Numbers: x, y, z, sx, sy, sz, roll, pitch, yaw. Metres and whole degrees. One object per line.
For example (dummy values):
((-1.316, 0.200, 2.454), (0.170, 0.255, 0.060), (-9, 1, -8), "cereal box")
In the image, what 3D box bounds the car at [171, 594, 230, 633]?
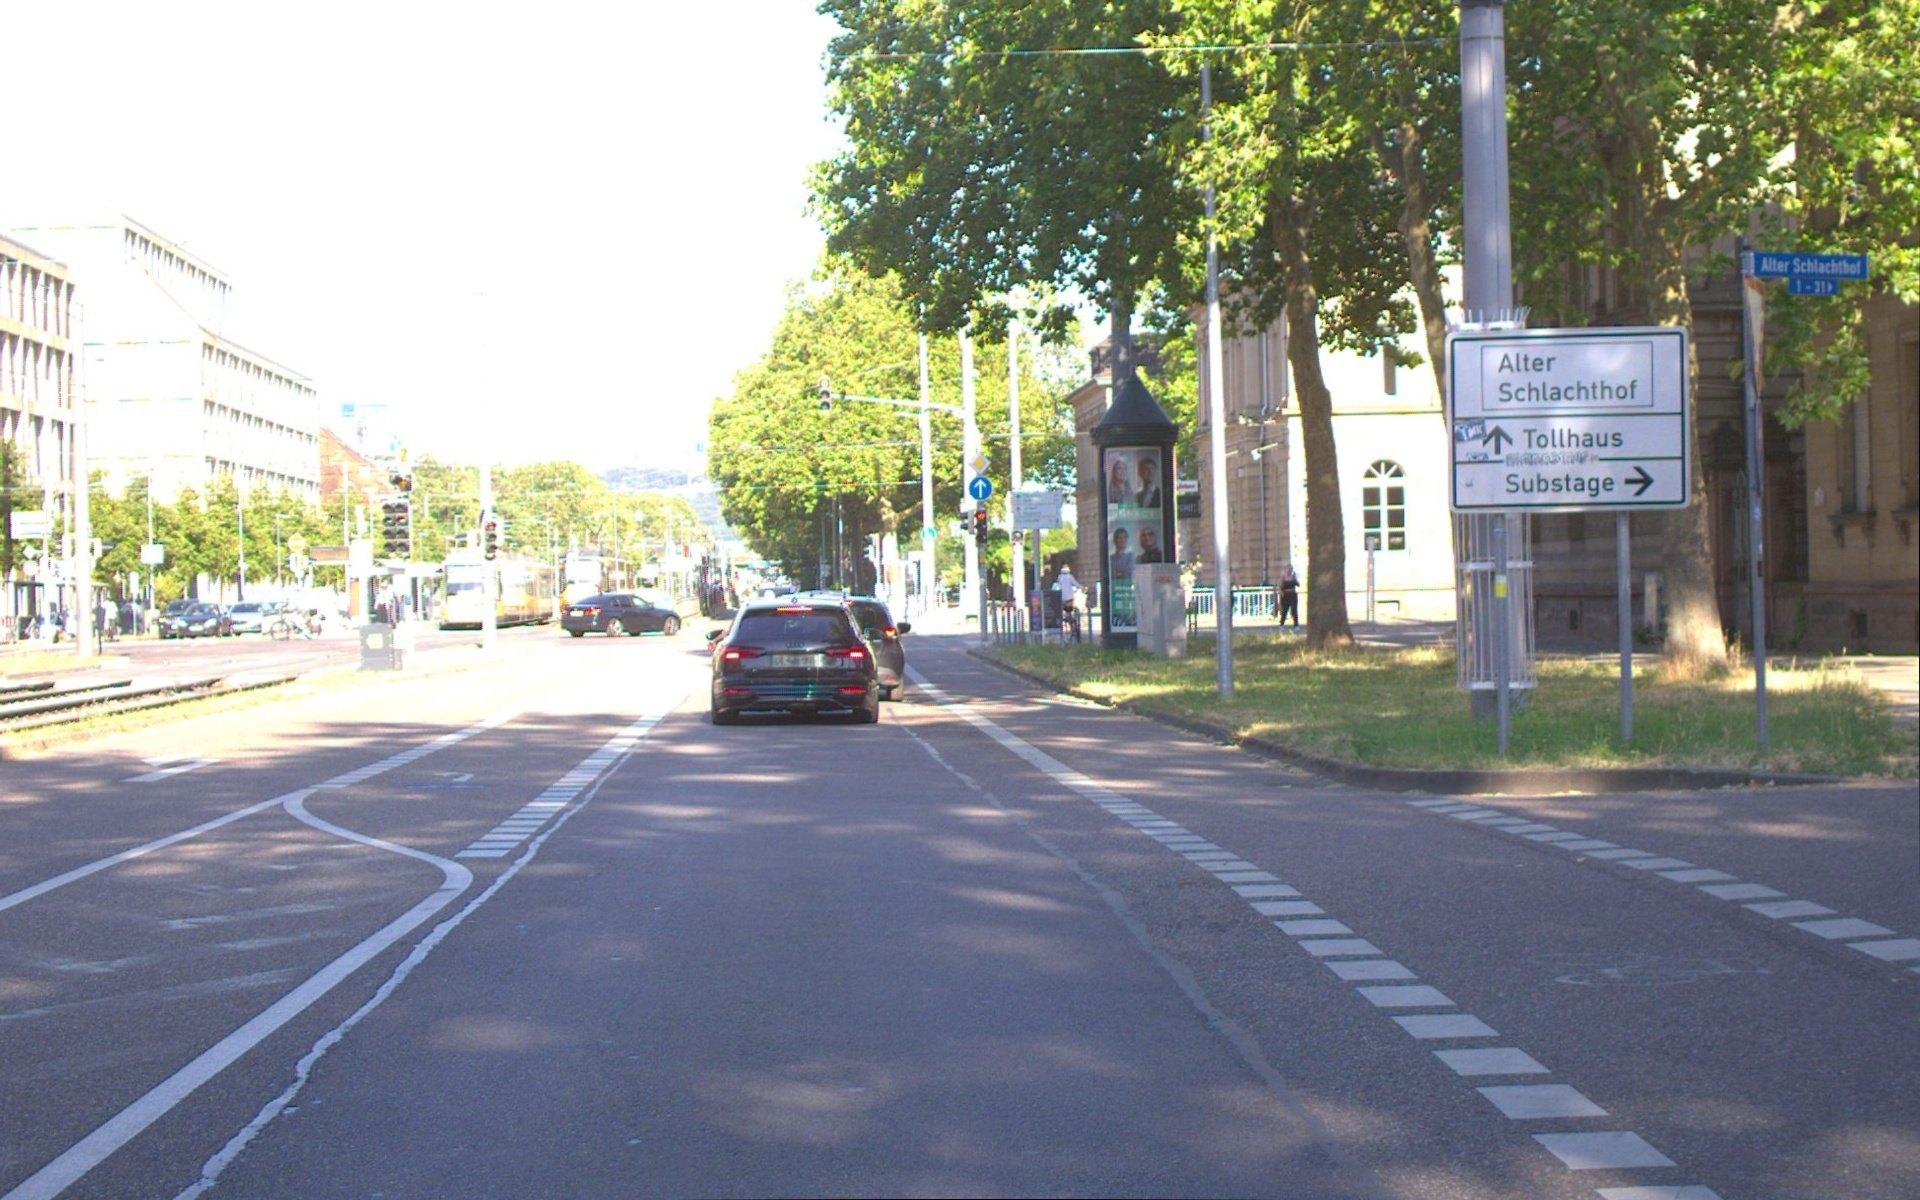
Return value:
((-30.746, 0.520, 139.251), (1.794, 1.505, 4.001), (-2, 0, -5), "car")

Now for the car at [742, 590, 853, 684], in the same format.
((-2.764, 0.603, 58.670), (1.794, 1.505, 4.000), (-2, 0, -2), "car")

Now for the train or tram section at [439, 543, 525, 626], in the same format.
((-20.812, -0.692, 150.017), (2.825, 3.439, 9.064), (-2, 0, -3), "train or tram section")

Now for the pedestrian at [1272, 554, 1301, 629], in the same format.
((7.539, -0.195, 79.421), (0.588, 1.722, 0.650), (1, 0, 12), "pedestrian")

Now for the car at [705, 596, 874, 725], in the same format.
((-1.994, 0.658, 39.781), (1.833, 1.386, 4.159), (-1, 0, -4), "car")

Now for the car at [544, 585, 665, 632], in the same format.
((-11.612, 0.295, 112.537), (1.797, 1.505, 3.992), (0, -1, 33), "car")

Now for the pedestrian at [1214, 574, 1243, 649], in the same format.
((6.205, 0.265, 79.390), (0.588, 1.722, 0.650), (0, 0, 10), "pedestrian")

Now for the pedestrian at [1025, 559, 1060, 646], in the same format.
((1.658, 0.045, 69.011), (0.588, 1.722, 0.650), (0, 0, 10), "pedestrian")

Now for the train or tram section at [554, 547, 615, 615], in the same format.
((-19.733, -0.996, 180.961), (2.825, 3.439, 9.065), (-2, 0, -4), "train or tram section")

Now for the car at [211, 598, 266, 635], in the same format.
((-30.612, 0.678, 146.018), (1.794, 1.505, 4.001), (-2, 0, -5), "car")

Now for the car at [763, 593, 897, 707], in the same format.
((-1.858, 0.684, 49.102), (1.794, 1.505, 4.000), (-2, 0, -2), "car")
